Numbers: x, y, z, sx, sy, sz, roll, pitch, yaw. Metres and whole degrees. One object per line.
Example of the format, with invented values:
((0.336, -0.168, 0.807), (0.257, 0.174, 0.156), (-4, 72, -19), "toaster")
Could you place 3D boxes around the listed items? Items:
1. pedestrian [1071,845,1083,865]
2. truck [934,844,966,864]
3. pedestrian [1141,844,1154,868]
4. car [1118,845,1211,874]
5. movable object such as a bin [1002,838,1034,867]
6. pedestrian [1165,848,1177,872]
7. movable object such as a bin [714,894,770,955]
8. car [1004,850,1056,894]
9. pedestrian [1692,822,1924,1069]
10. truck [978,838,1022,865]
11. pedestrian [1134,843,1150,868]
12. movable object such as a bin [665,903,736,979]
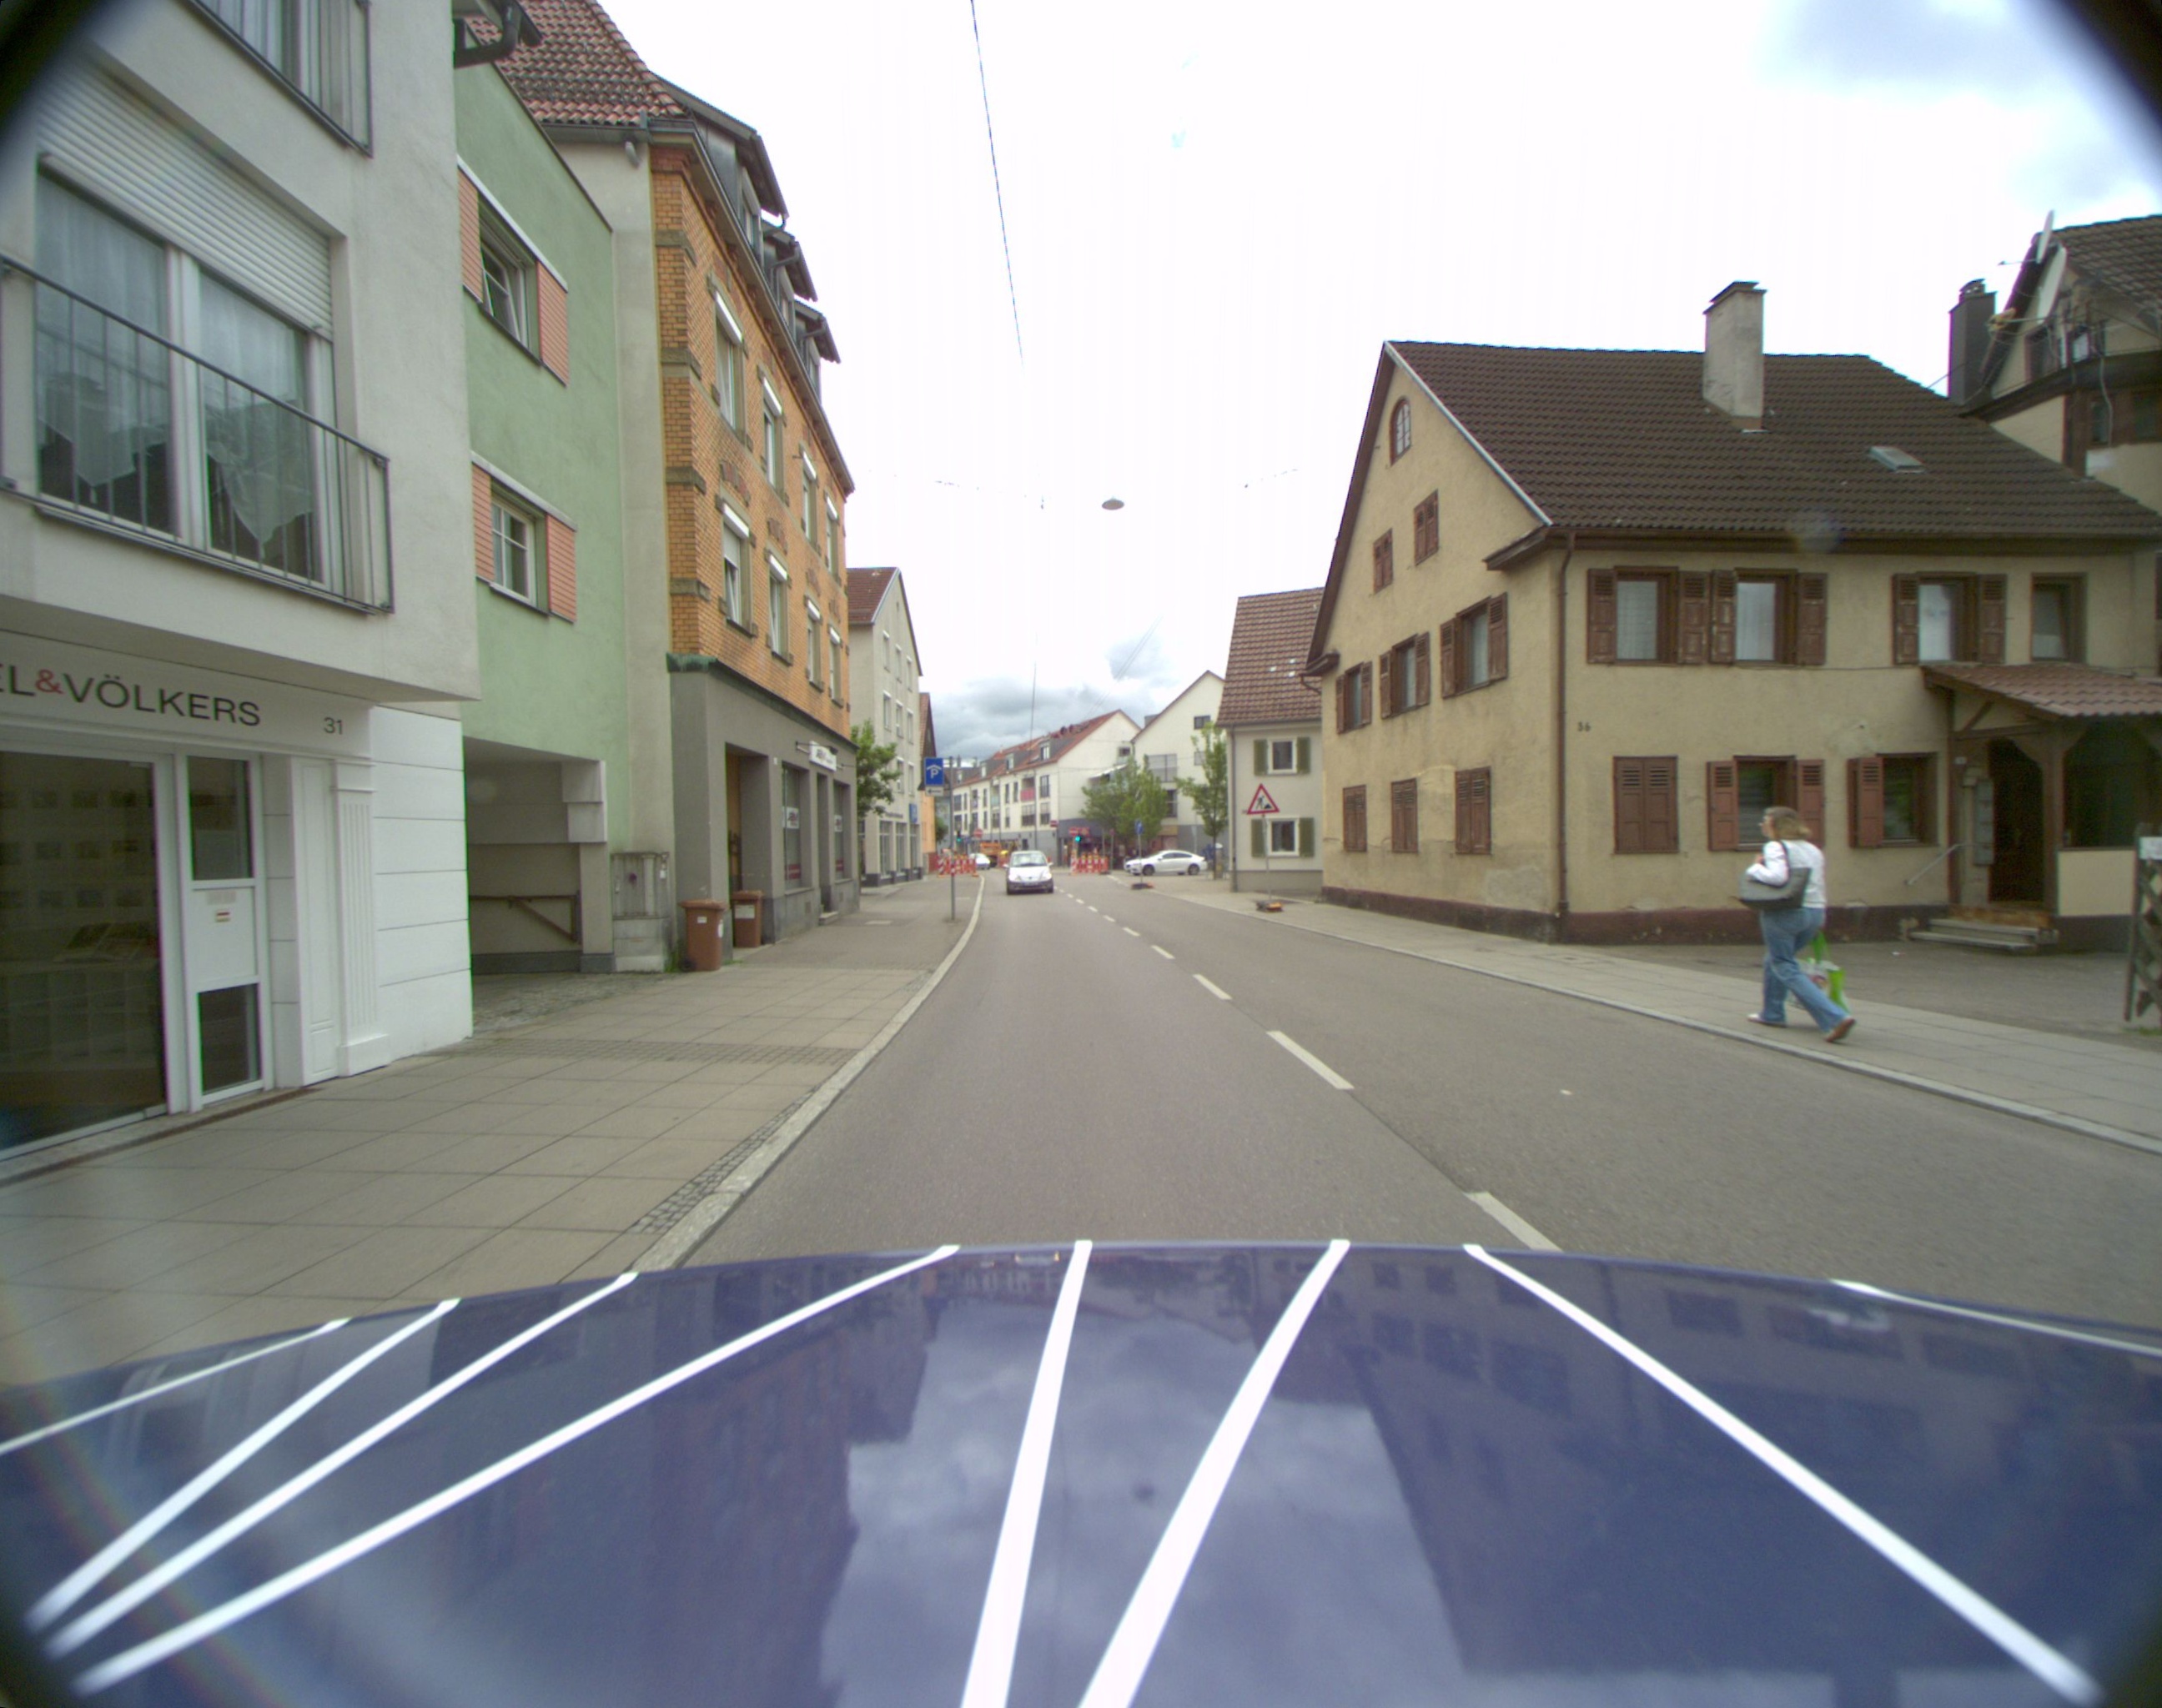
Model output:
((-0.331, 0.067, 65.848), (0.835, 1.702, 0.814), (-1, 1, -17), "pedestrian")
((-16.916, 0.007, 97.707), (2.425, 2.451, 6.294), (0, -1, -26), "truck")
((5.151, 0.151, 58.605), (0.695, 1.780, 0.716), (-2, 1, -44), "pedestrian")
((4.882, 0.294, 44.592), (4.922, 1.468, 2.246), (-2, 1, -18), "car")
((-6.045, -0.189, 72.766), (1.847, 2.748, 4.496), (-1, 1, -21), "movable object such as a bin")
((5.853, 0.382, 49.476), (0.682, 1.583, 0.879), (0, 1, 3), "pedestrian")
((-5.546, 1.140, 12.463), (0.581, 0.928, 0.739), (-1, 1, -2), "movable object such as a bin")
((-2.014, 0.678, 29.383), (1.859, 1.547, 4.351), (0, -1, -5), "car")
((5.294, 0.614, 5.590), (0.895, 1.655, 0.861), (-1, 1, -8), "pedestrian")
((-8.600, -0.268, 79.930), (2.743, 2.709, 6.835), (-1, 0, -22), "truck")
((4.664, 0.119, 58.082), (0.818, 1.914, 0.782), (-2, 1, -44), "pedestrian")
((-4.981, 1.130, 9.983), (0.621, 0.916, 0.581), (-1, 1, -1), "movable object such as a bin")
